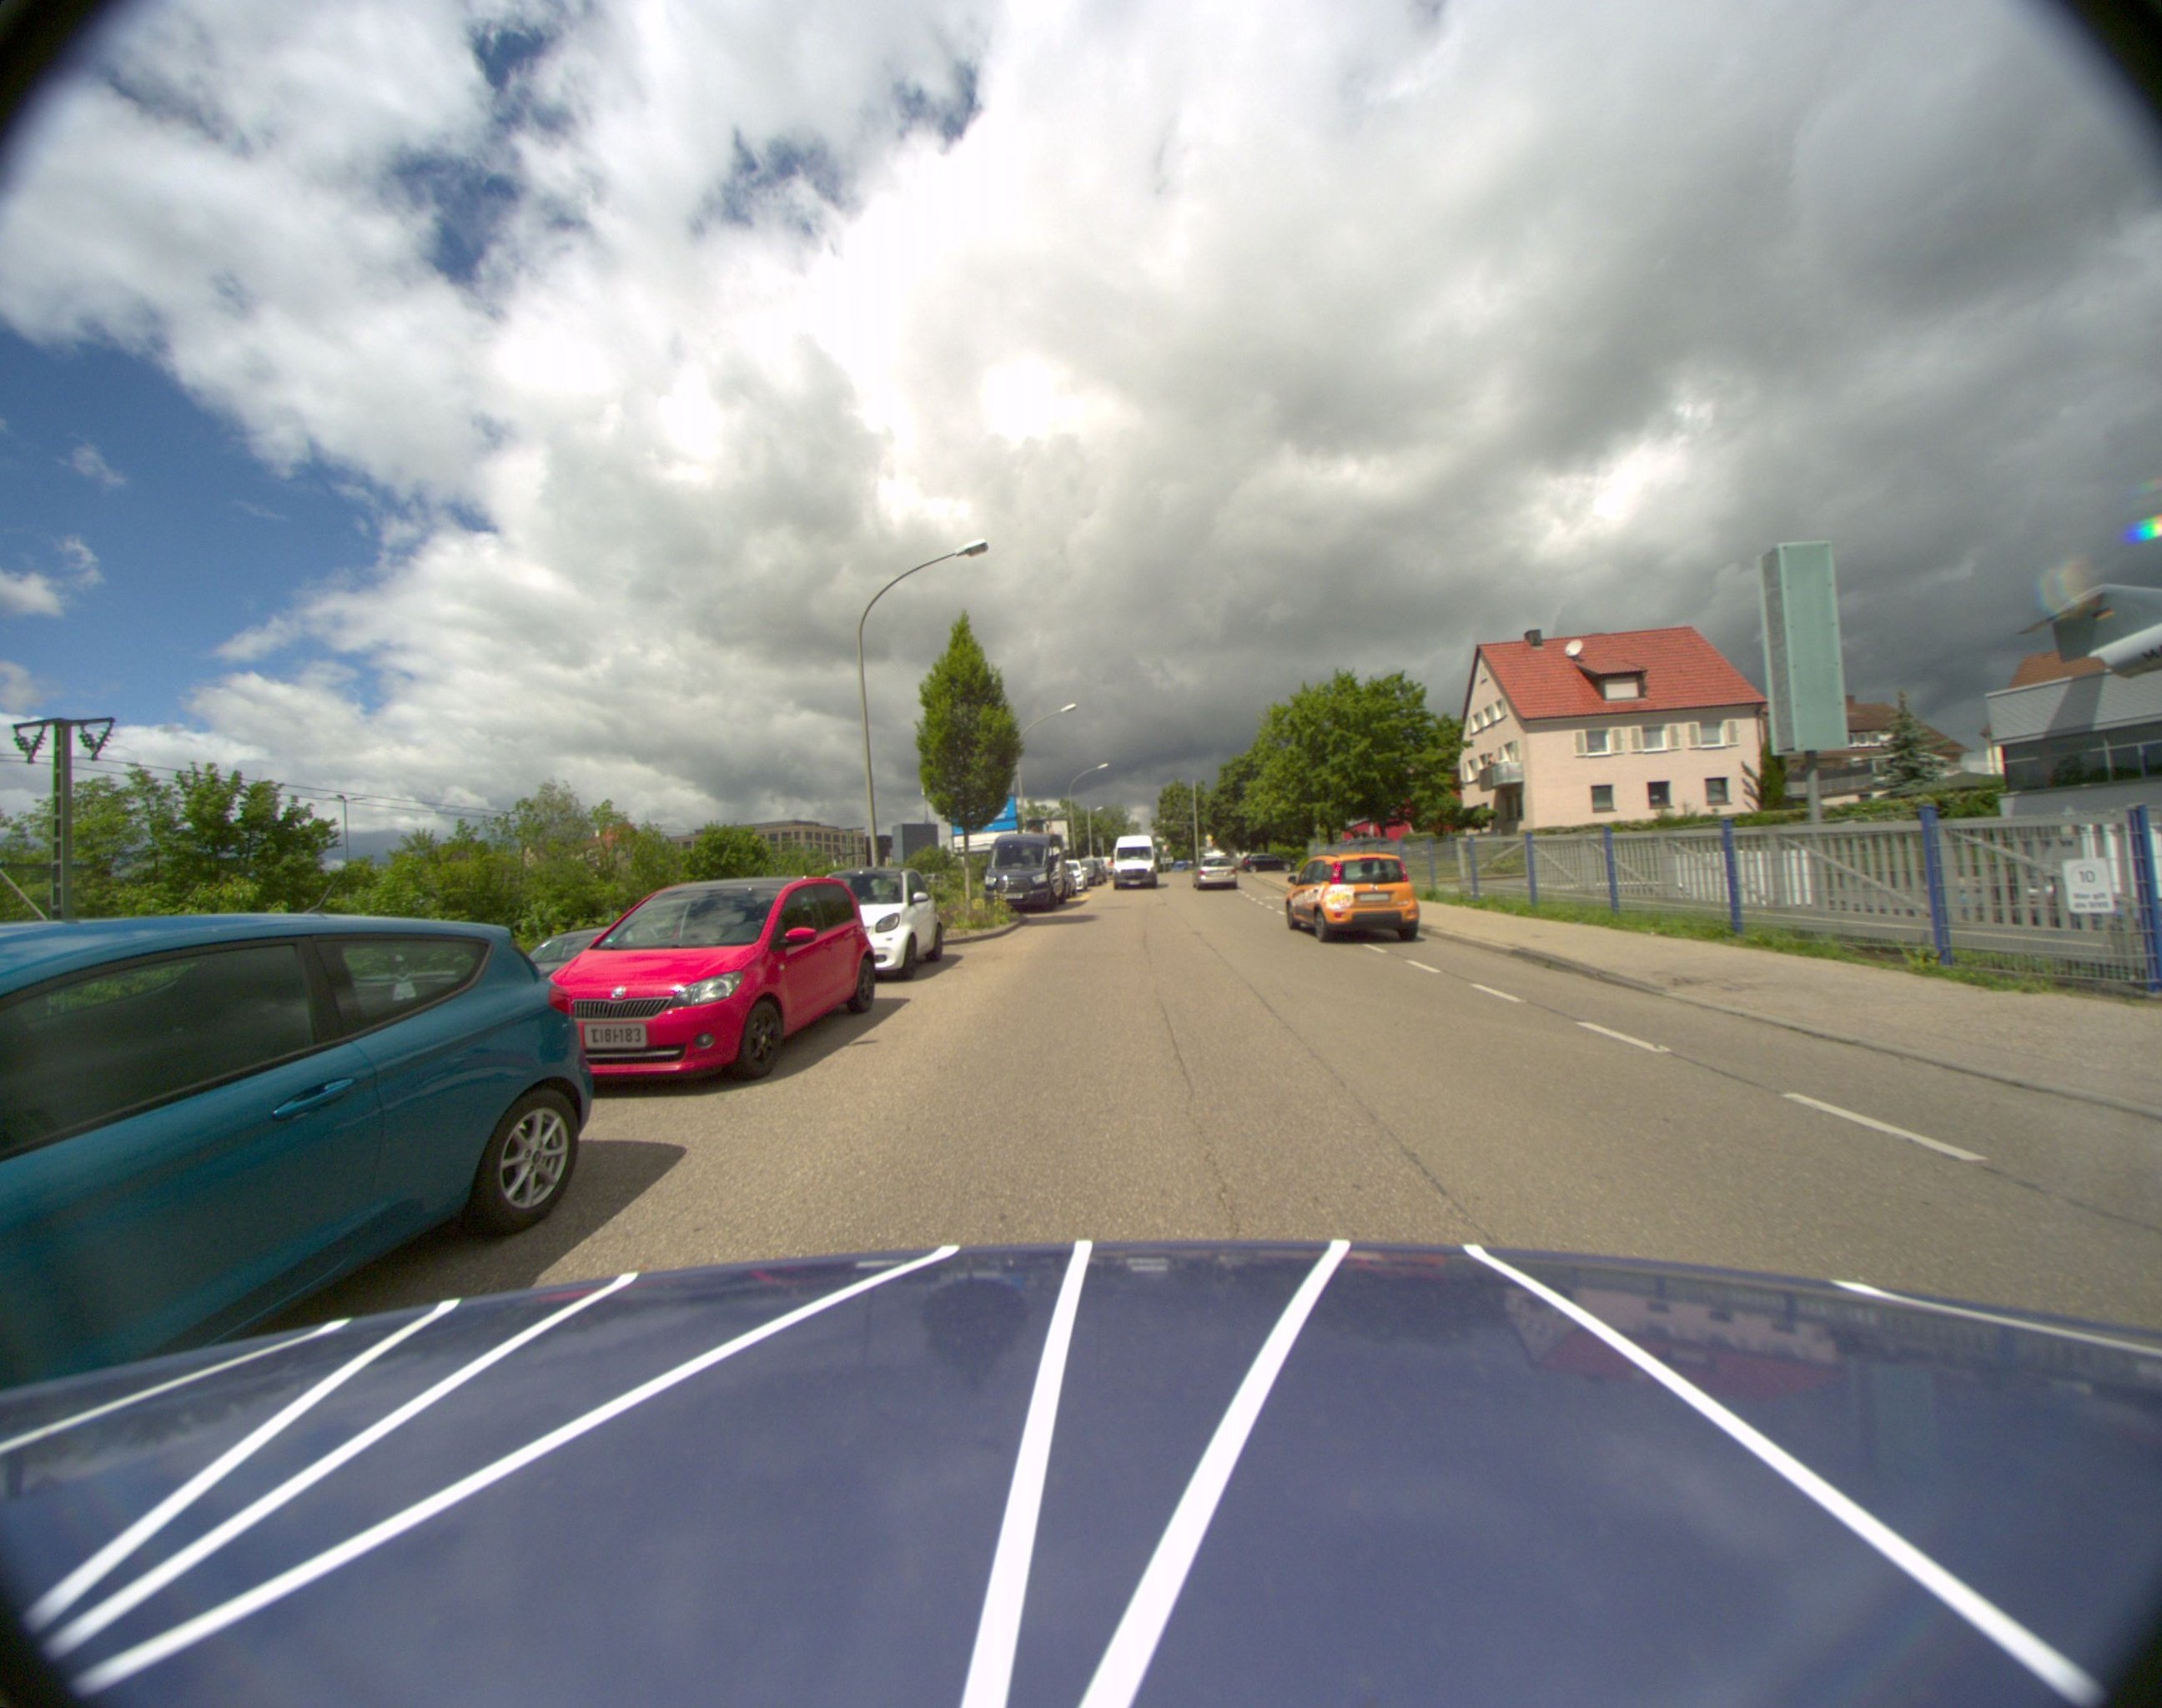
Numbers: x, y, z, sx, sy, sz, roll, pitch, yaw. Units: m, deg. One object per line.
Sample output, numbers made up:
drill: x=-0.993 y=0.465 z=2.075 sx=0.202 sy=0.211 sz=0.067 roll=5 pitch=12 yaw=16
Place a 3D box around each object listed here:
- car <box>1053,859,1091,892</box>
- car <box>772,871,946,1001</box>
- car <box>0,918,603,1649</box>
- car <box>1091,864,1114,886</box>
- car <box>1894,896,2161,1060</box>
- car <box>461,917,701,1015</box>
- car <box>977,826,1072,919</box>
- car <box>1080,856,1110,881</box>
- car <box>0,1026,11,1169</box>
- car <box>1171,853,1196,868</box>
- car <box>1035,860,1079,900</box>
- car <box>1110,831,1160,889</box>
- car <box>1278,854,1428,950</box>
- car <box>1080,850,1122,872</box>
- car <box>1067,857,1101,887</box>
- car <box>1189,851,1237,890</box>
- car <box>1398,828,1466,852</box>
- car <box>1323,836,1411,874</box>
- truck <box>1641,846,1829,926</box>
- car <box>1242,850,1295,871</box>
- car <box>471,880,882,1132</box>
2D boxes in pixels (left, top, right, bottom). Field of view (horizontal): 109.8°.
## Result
car: x=-0.395 y=0.978 z=36.141 sx=1.401 sy=1.424 sz=3.446 roll=-2 pitch=0 yaw=5
car: x=-3.074 y=1.078 z=11.073 sx=1.597 sy=1.514 sz=2.858 roll=-3 pitch=0 yaw=1
car: x=-3.226 y=1.077 z=1.854 sx=1.597 sy=1.442 sz=3.979 roll=-3 pitch=0 yaw=-1
car: x=1.576 y=1.596 z=57.863 sx=1.585 sy=1.497 sz=3.957 roll=-2 pitch=0 yaw=0
car: x=11.886 y=1.347 z=8.841 sx=1.434 sy=1.451 sz=3.363 roll=-2 pitch=0 yaw=6
car: x=-10.297 y=2.246 z=16.191 sx=1.820 sy=1.343 sz=4.556 roll=-2 pitch=0 yaw=4
car: x=-1.665 y=0.509 z=24.538 sx=2.059 sy=2.579 sz=5.736 roll=-2 pitch=0 yaw=5
car: x=0.938 y=0.898 z=48.922 sx=1.584 sy=1.497 sz=3.958 roll=-2 pitch=0 yaw=5
car: x=-11.283 y=2.345 z=5.016 sx=1.820 sy=1.343 sz=4.556 roll=-2 pitch=0 yaw=4
car: x=14.663 y=0.886 z=108.306 sx=1.957 sy=1.957 sz=5.139 roll=-2 pitch=0 yaw=27
car: x=-0.926 y=1.012 z=30.992 sx=1.334 sy=1.446 sz=3.368 roll=-2 pitch=0 yaw=5
car: x=2.823 y=0.252 z=38.146 sx=2.081 sy=2.576 sz=6.065 roll=-2 pitch=0 yaw=7
car: x=4.899 y=0.779 z=14.212 sx=1.605 sy=1.482 sz=3.682 roll=-2 pitch=0 yaw=3
car: x=2.612 y=0.874 z=97.209 sx=5.140 sy=2.576 sz=1.957 roll=-3 pitch=1 yaw=-37
car: x=0.219 y=0.952 z=41.939 sx=1.522 sy=1.446 sz=3.958 roll=-2 pitch=0 yaw=5
car: x=5.819 y=0.685 z=33.895 sx=1.646 sy=1.523 sz=4.223 roll=-2 pitch=0 yaw=4
car: x=24.326 y=-0.972 z=52.764 sx=4.015 sy=1.497 sz=1.587 roll=-2 pitch=0 yaw=8
car: x=14.893 y=0.066 z=39.680 sx=3.954 sy=1.766 sz=1.523 roll=-2 pitch=0 yaw=1
truck: x=25.331 y=1.109 z=29.903 sx=2.321 sy=2.716 sz=6.596 roll=-2 pitch=0 yaw=8
car: x=14.678 y=0.503 z=59.752 sx=3.854 sy=1.497 sz=1.587 roll=-2 pitch=0 yaw=8
car: x=-3.109 y=1.058 z=6.719 sx=1.596 sy=1.473 sz=3.500 roll=-3 pitch=0 yaw=2
